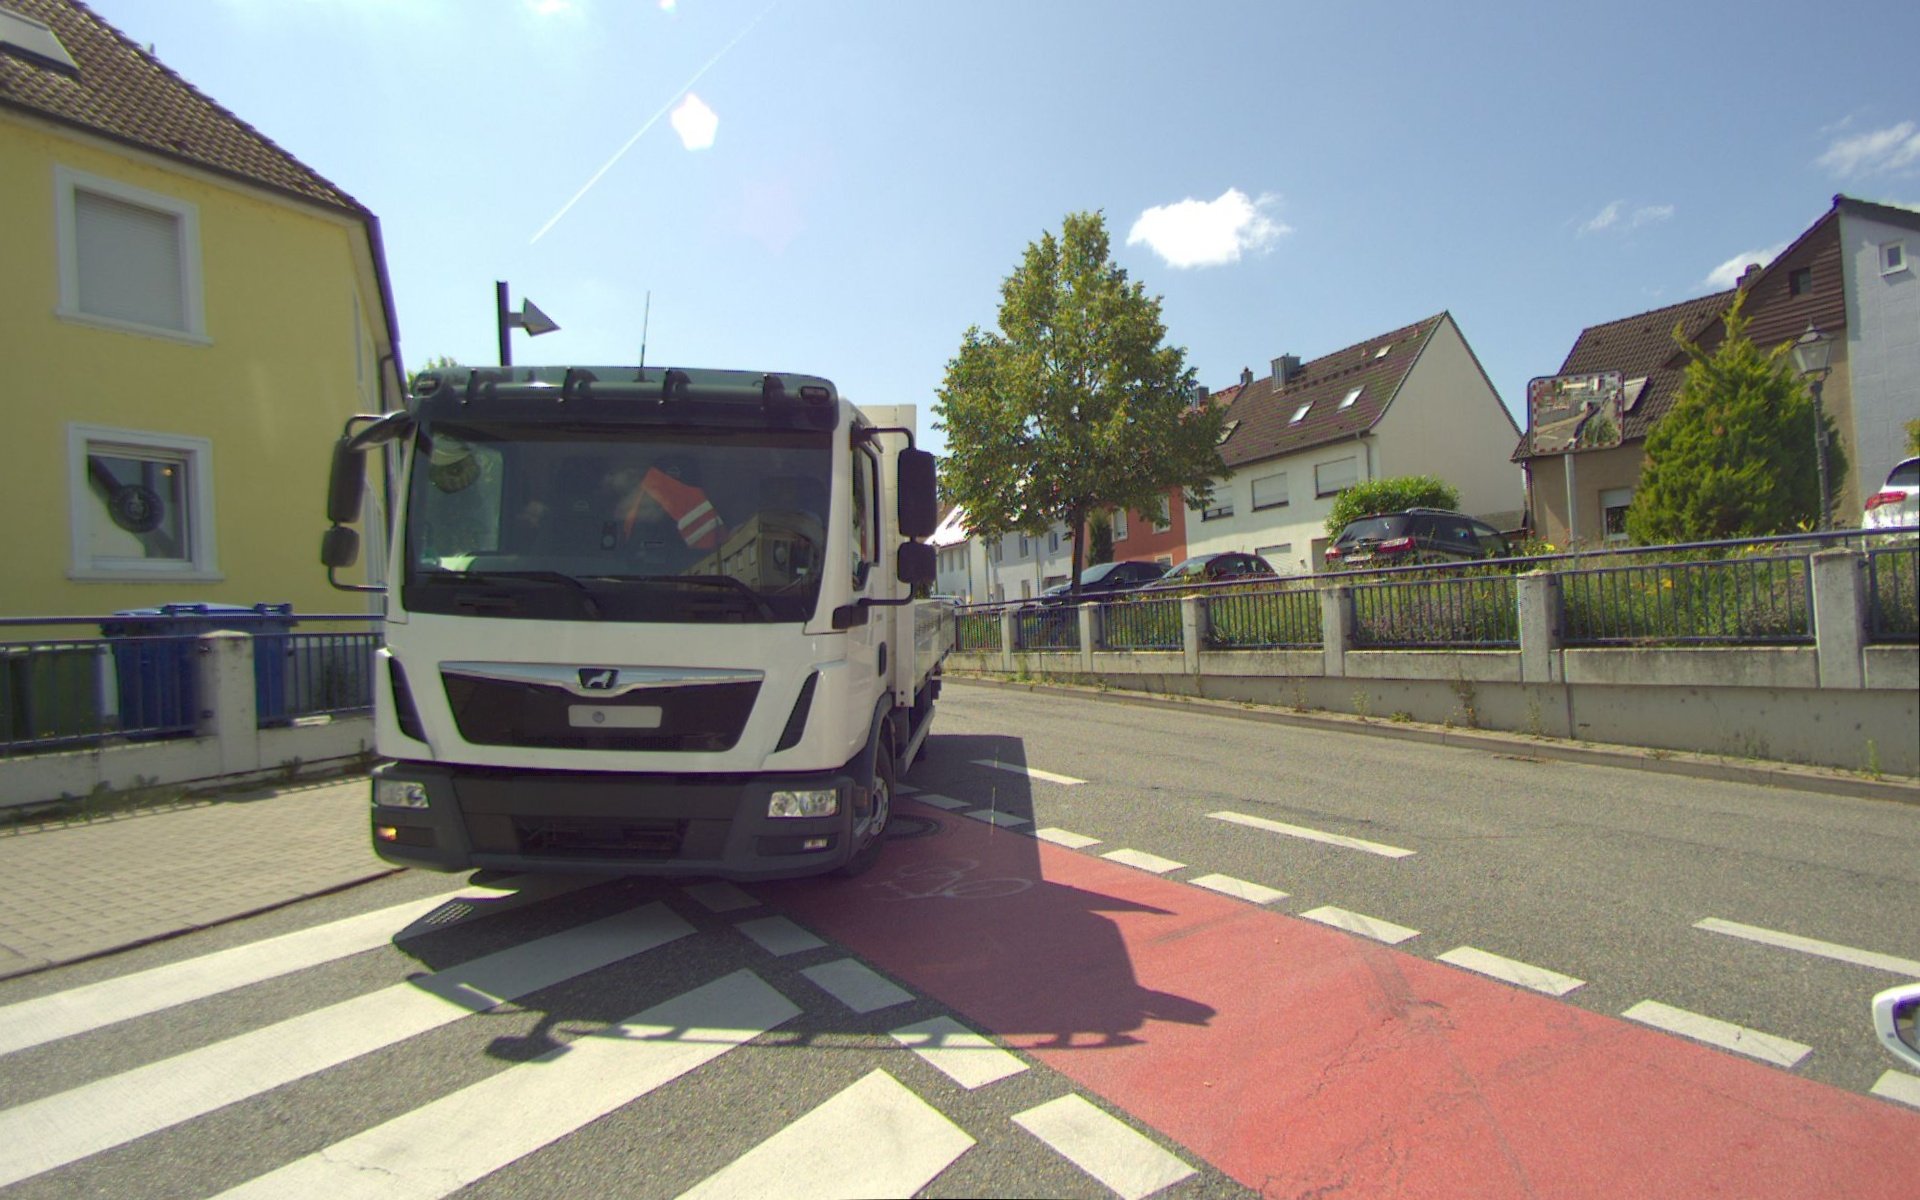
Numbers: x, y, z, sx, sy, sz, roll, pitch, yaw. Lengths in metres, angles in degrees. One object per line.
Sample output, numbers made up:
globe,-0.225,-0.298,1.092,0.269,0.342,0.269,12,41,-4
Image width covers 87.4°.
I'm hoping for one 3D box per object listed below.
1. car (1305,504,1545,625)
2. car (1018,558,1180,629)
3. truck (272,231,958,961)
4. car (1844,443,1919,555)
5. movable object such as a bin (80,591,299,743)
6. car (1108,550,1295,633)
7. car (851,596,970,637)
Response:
car,7.892,-0.531,16.978,3.956,1.821,1.857,0,1,-33
car,3.401,-0.153,24.492,3.570,1.608,1.857,0,1,-33
truck,-1.397,0.006,8.066,2.566,2.915,8.073,0,0,1
car,11.225,-1.039,10.717,3.421,1.033,1.814,0,1,-33
movable object such as a bin,-6.786,0.568,8.912,0.826,1.229,1.276,-2,-1,19
car,5.078,-0.163,21.074,3.570,1.608,1.857,0,1,-33
car,-1.888,0.612,38.416,4.200,1.508,1.736,0,1,-26
